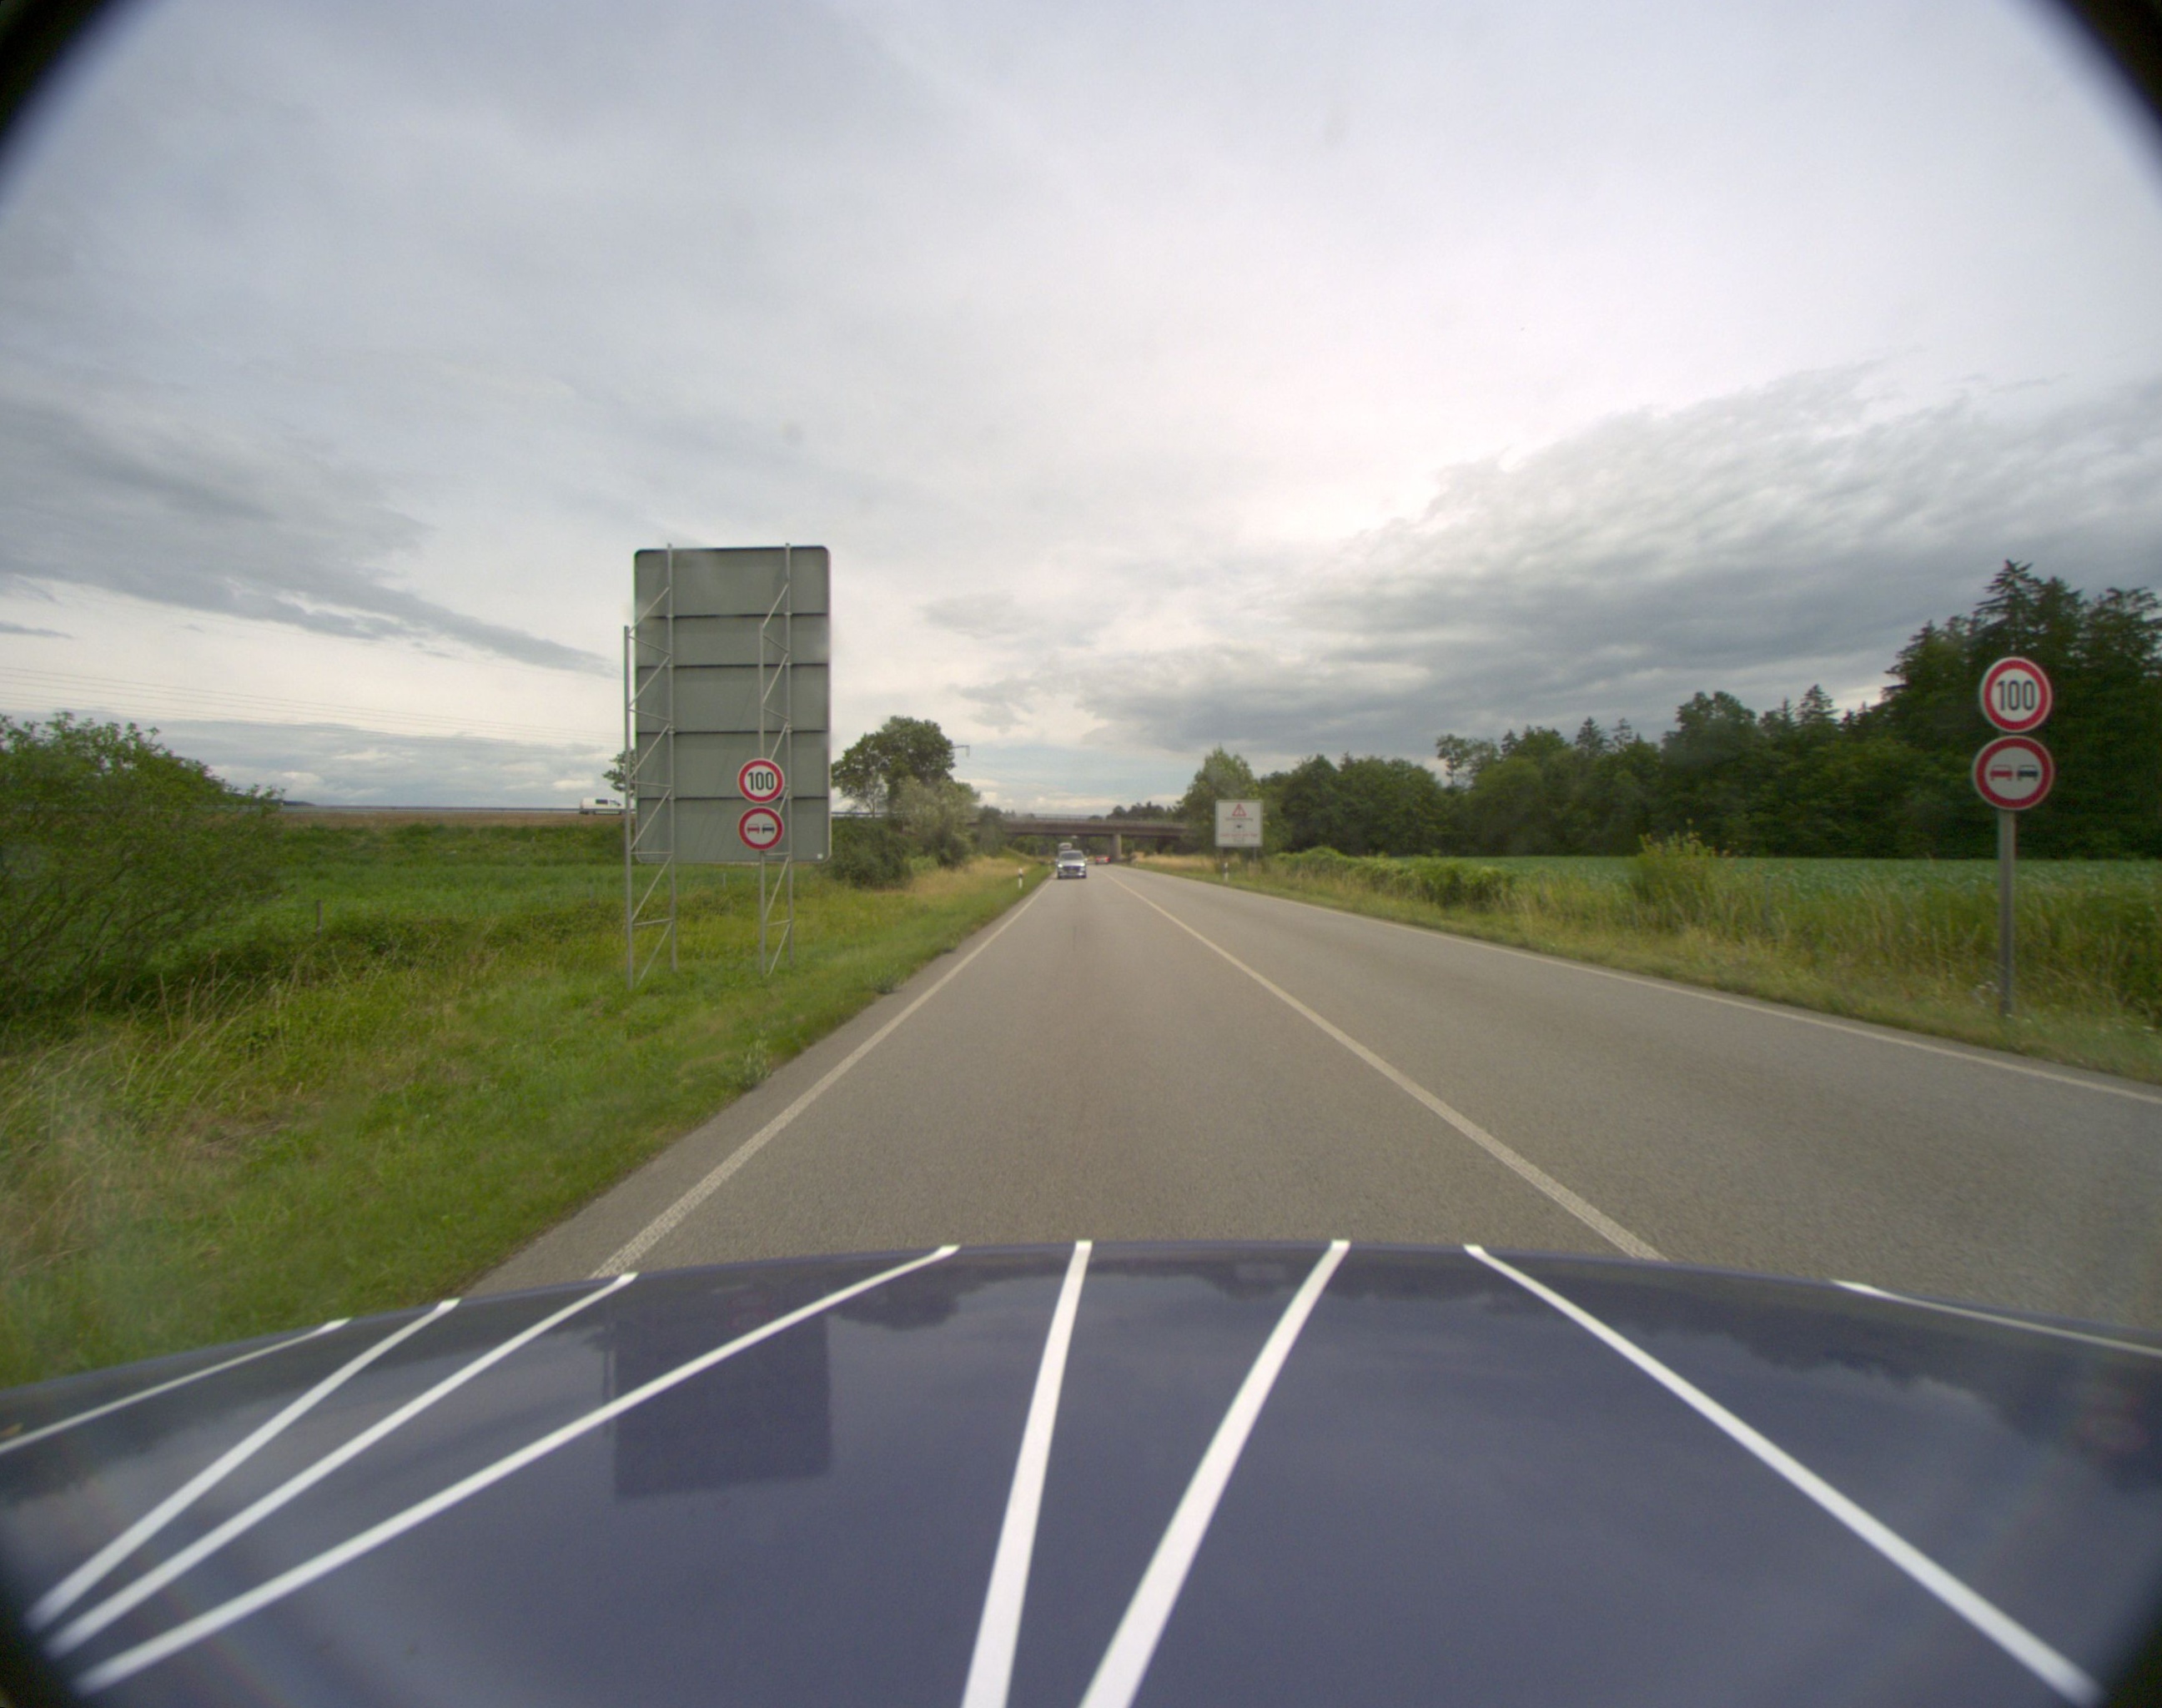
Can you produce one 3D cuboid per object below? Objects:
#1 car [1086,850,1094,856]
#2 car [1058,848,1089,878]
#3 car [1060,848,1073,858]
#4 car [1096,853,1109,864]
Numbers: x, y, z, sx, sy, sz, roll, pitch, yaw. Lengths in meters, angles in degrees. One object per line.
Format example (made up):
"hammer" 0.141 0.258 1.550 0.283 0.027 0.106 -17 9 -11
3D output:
"car" 2.371 -0.274 201.080 1.800 1.653 3.999 -3 1 -1
"car" -0.522 0.559 51.312 1.923 1.823 3.999 -3 1 -1
"car" -2.897 -0.236 156.294 1.997 2.002 4.002 -3 1 8
"car" 3.190 0.672 114.235 1.771 1.455 4.000 -3 1 1
